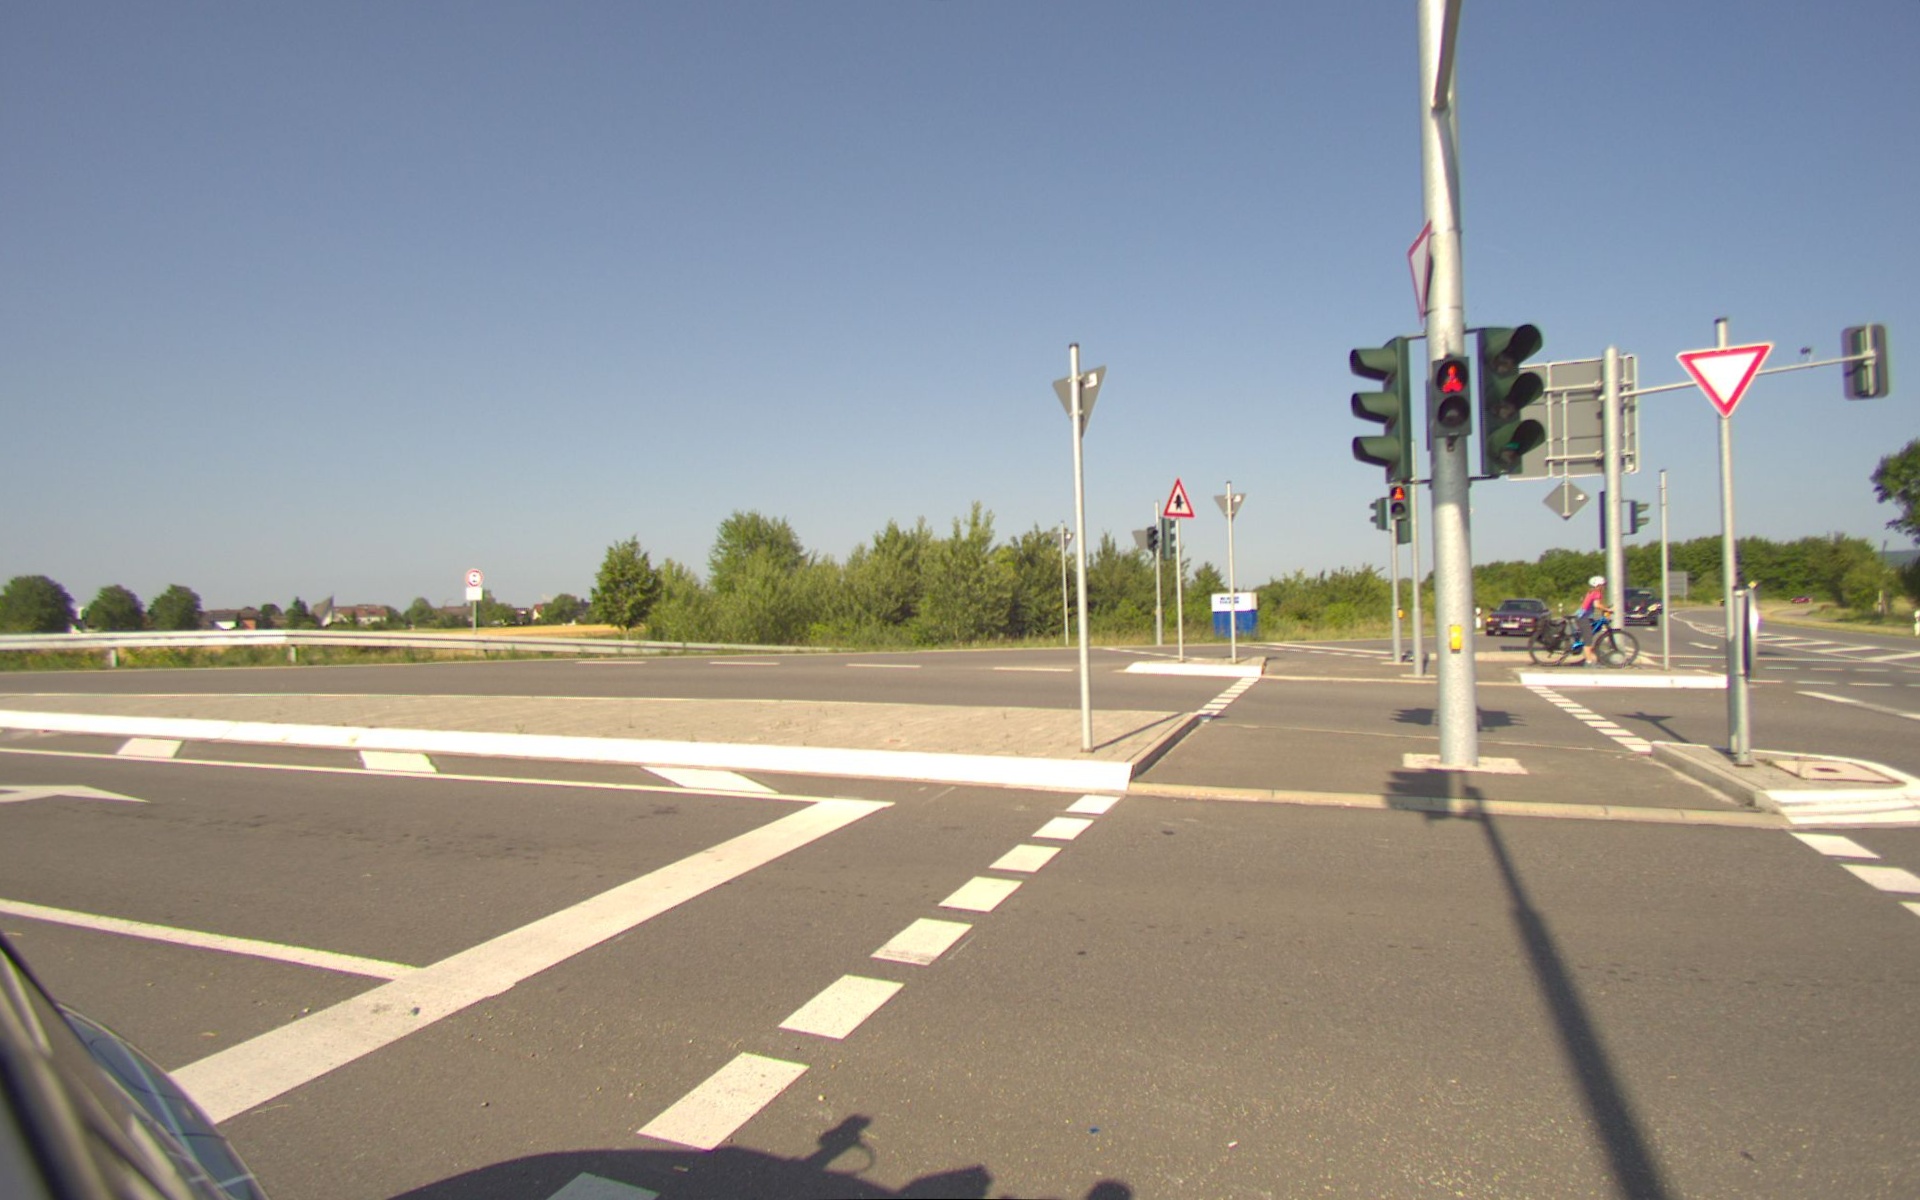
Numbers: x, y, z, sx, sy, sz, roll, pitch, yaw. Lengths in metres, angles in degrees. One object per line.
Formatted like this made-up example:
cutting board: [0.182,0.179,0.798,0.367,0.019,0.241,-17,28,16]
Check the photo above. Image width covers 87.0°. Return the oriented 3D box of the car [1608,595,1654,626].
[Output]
car: [35.042,0.513,52.793,1.859,1.554,3.951,-1,0,36]

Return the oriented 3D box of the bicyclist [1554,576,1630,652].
bicyclist: [11.718,0.250,18.804,1.067,1.362,0.852,0,1,24]

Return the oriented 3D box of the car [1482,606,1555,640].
car: [19.968,0.772,36.127,1.738,1.120,3.949,0,0,38]

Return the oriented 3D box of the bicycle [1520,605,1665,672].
bicycle: [11.693,0.689,18.804,2.137,1.158,1.065,0,1,24]
